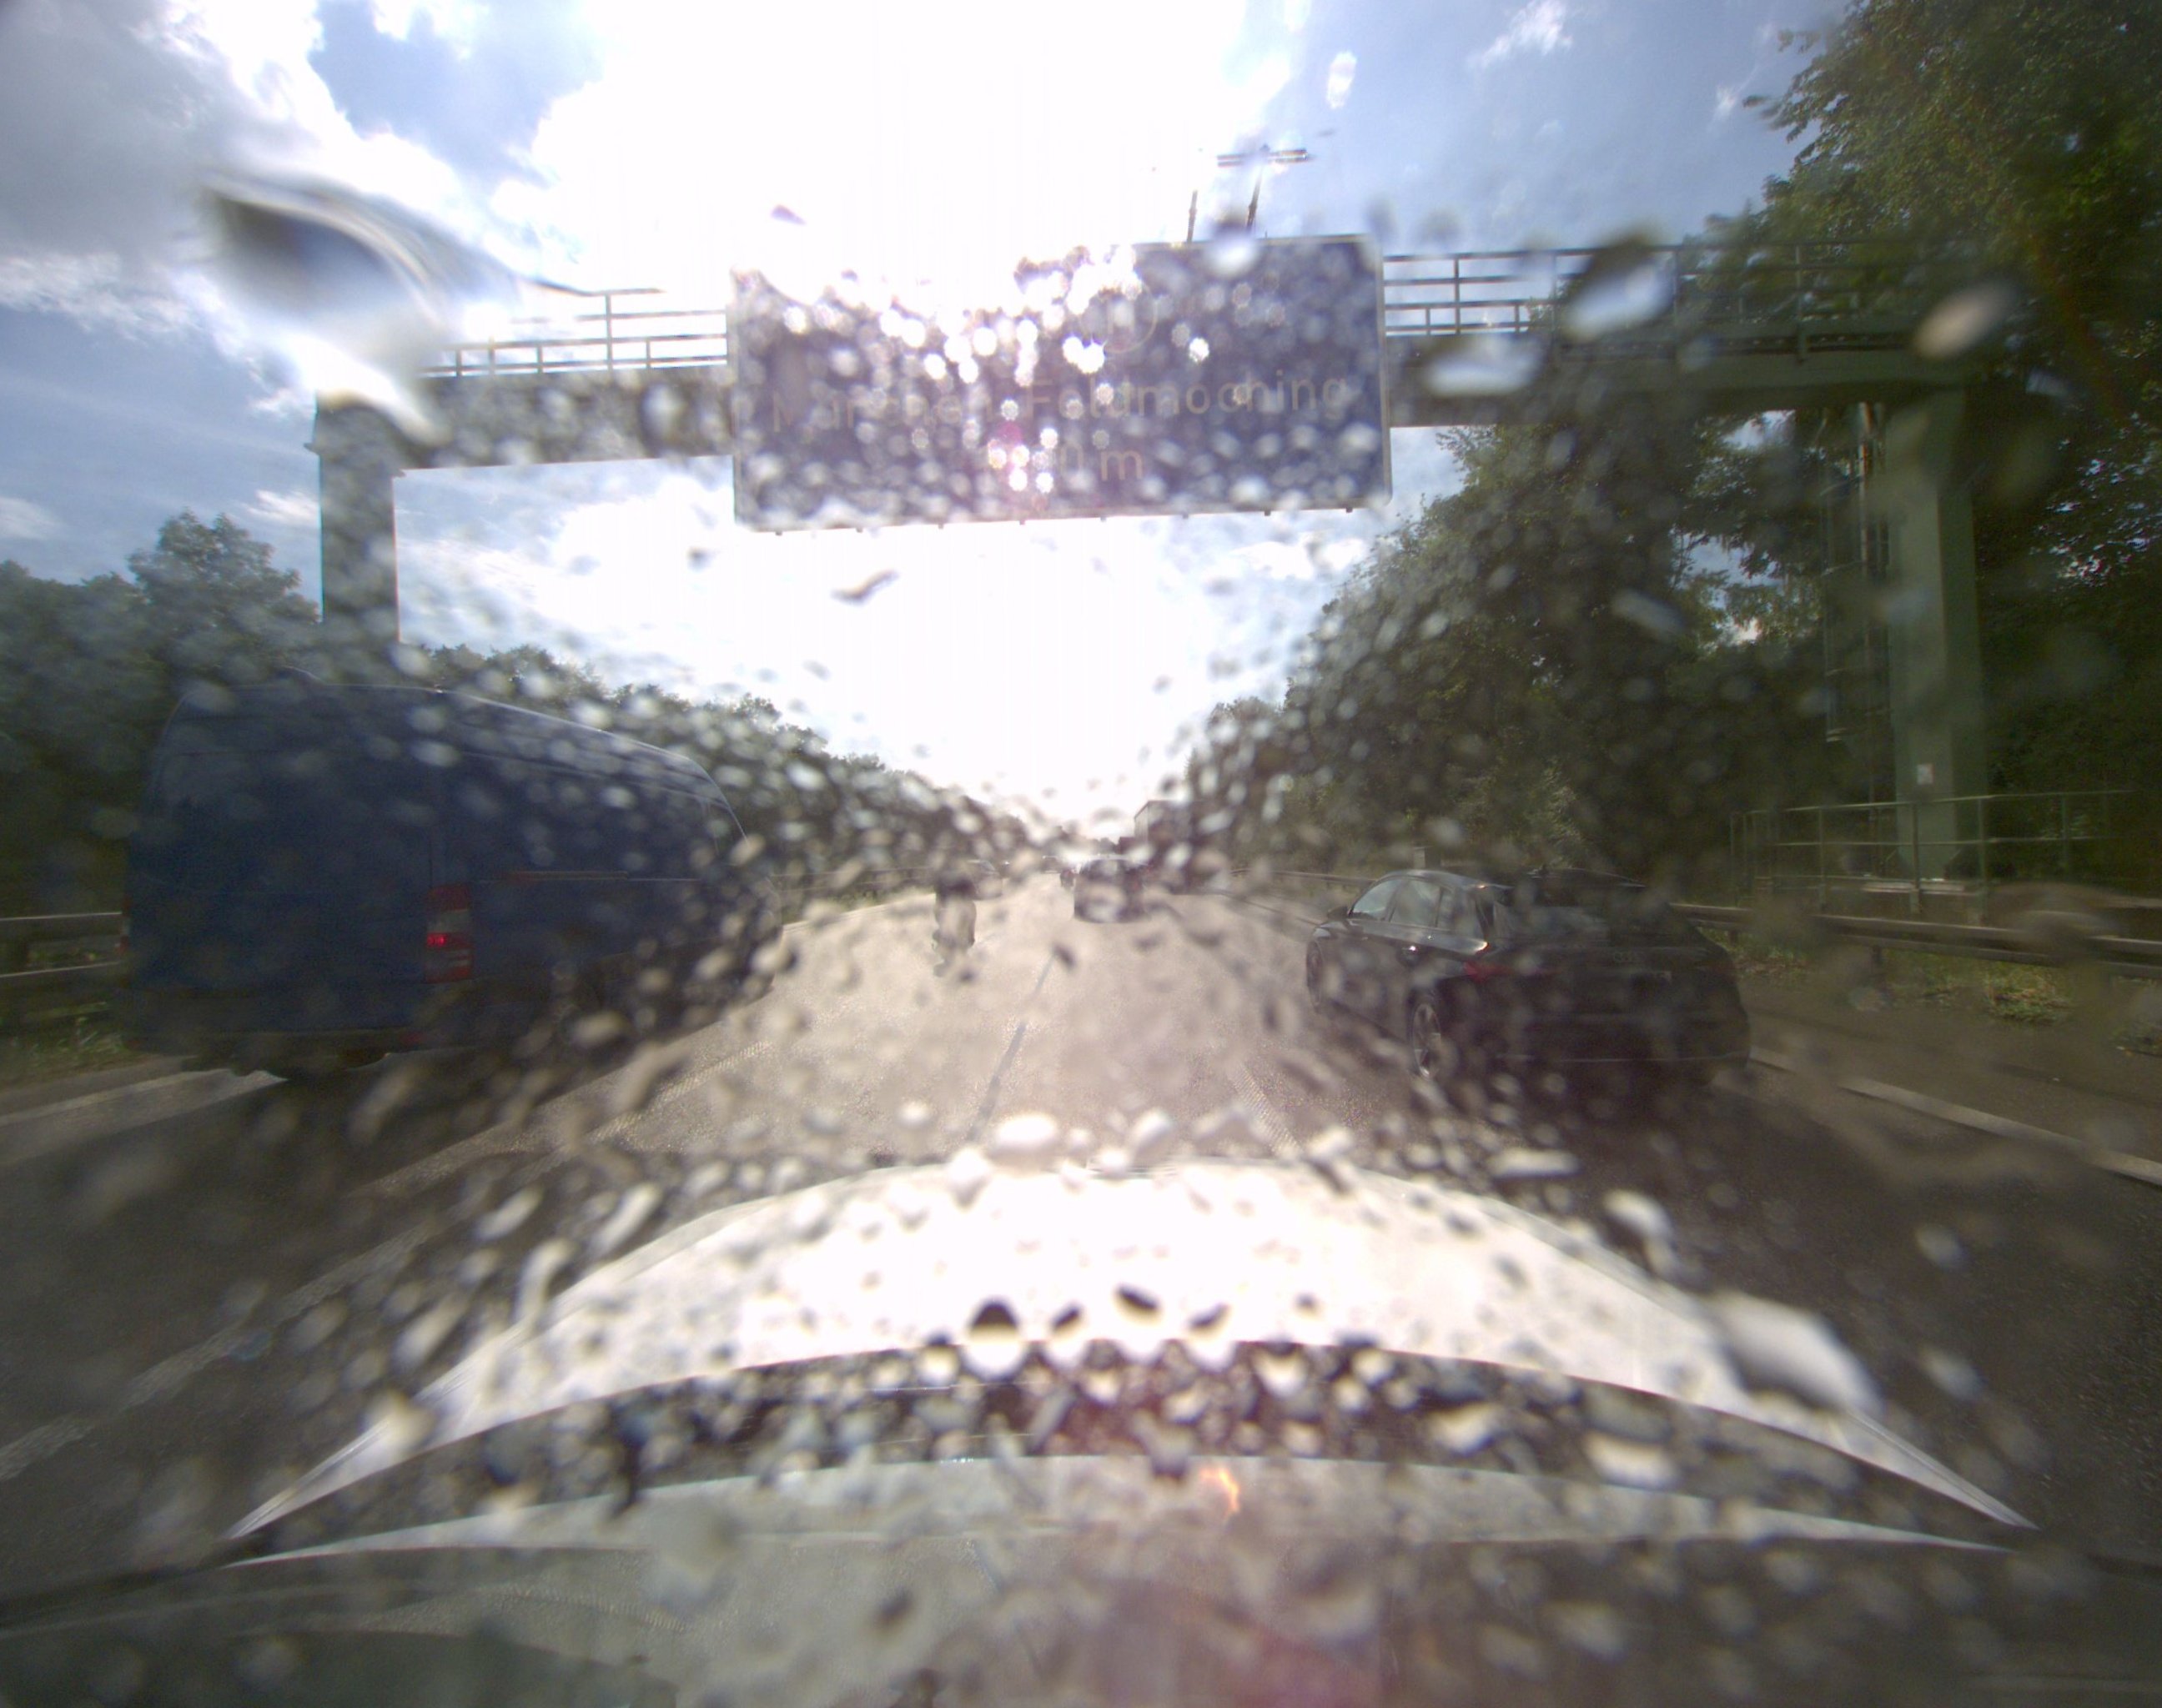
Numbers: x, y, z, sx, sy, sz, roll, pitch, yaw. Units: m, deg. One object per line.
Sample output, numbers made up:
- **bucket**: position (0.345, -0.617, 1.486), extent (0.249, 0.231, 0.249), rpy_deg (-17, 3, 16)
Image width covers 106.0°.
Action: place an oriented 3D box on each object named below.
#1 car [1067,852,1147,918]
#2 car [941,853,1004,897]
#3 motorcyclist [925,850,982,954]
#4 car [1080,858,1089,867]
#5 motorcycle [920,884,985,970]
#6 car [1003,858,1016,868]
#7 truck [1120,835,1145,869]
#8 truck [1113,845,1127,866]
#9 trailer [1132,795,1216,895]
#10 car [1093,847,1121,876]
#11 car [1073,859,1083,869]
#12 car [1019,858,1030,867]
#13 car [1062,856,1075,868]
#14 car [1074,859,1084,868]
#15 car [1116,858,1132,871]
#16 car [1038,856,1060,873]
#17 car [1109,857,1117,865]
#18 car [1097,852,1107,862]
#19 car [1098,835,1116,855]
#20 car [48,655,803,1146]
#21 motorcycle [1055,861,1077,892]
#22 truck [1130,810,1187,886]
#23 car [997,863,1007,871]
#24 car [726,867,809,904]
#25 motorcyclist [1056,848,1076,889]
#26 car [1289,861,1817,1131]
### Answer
- **car**: position (0.674, 0.769, 21.886), extent (1.908, 1.565, 4.315), rpy_deg (-1, 0, 1)
- **car**: position (-4.212, 0.796, 32.275), extent (1.752, 1.595, 4.332), rpy_deg (-1, 0, 2)
- **motorcyclist**: position (-1.835, 0.674, 11.833), extent (0.669, 1.442, 1.019), rpy_deg (0, -1, -2)
- **car**: position (0.719, 1.998, 186.775), extent (1.986, 2.014, 4.001), rpy_deg (-1, -1, 1)
- **motorcycle**: position (-1.830, 1.007, 11.835), extent (0.674, 1.087, 1.980), rpy_deg (0, 0, -2)
- **car**: position (-13.153, 1.654, 149.099), extent (1.915, 1.580, 4.001), rpy_deg (-2, 0, 1)
- **truck**: position (7.017, -0.206, 112.832), extent (3.190, 4.404, 9.436), rpy_deg (-1, 0, 2)
- **truck**: position (8.751, 0.360, 184.013), extent (2.871, 4.688, 12.662), rpy_deg (-1, -1, 2)
- **trailer**: position (4.518, -0.352, 42.698), extent (3.077, 4.312, 14.107), rpy_deg (-1, 0, 1)
- **car**: position (1.846, 0.569, 59.045), extent (1.987, 2.014, 4.000), rpy_deg (0, -1, 1)
- **car**: position (-0.592, 2.095, 166.810), extent (1.986, 2.014, 4.001), rpy_deg (-1, -1, 1)
- **car**: position (-12.532, 1.914, 180.677), extent (1.917, 1.911, 4.290), rpy_deg (-2, 0, 2)
- **car**: position (-1.722, 1.072, 112.782), extent (1.669, 1.597, 3.437), rpy_deg (-1, 0, 1)
- **car**: position (-0.279, 1.658, 140.772), extent (1.669, 1.490, 3.437), rpy_deg (-1, 0, 1)
- **car**: position (5.045, 1.177, 95.784), extent (1.669, 1.490, 3.437), rpy_deg (-1, 0, 1)
- **car**: position (-3.153, 1.017, 80.010), extent (1.886, 1.628, 4.196), rpy_deg (-1, 0, 1)
- **car**: position (8.592, 1.880, 219.722), extent (1.987, 2.014, 4.000), rpy_deg (0, -1, 1)
- **car**: position (3.318, 0.423, 128.202), extent (1.626, 1.490, 3.437), rpy_deg (-1, 0, 1)
- **car**: position (2.548, -0.860, 79.333), extent (1.669, 1.936, 3.774), rpy_deg (-1, 0, 1)
- **car**: position (-4.574, 0.267, 7.334), extent (2.008, 2.648, 5.778), rpy_deg (-1, 0, 1)
- **motorcycle**: position (-0.638, 0.968, 35.659), extent (0.816, 1.263, 2.118), rpy_deg (0, 0, 2)
- **truck**: position (4.650, -0.321, 49.869), extent (3.041, 4.325, 5.887), rpy_deg (-1, 0, 1)
- **car**: position (-16.660, 2.768, 172.804), extent (1.625, 1.482, 3.787), rpy_deg (-1, 0, 2)
- **car**: position (-12.967, 1.266, 33.938), extent (1.838, 1.296, 4.000), rpy_deg (-2, 0, 1)
- **motorcyclist**: position (-0.645, 0.613, 35.608), extent (0.818, 1.761, 1.391), rpy_deg (-1, -1, 2)
- **car**: position (3.050, 0.767, 6.491), extent (1.748, 1.396, 4.369), rpy_deg (-1, 0, 1)
